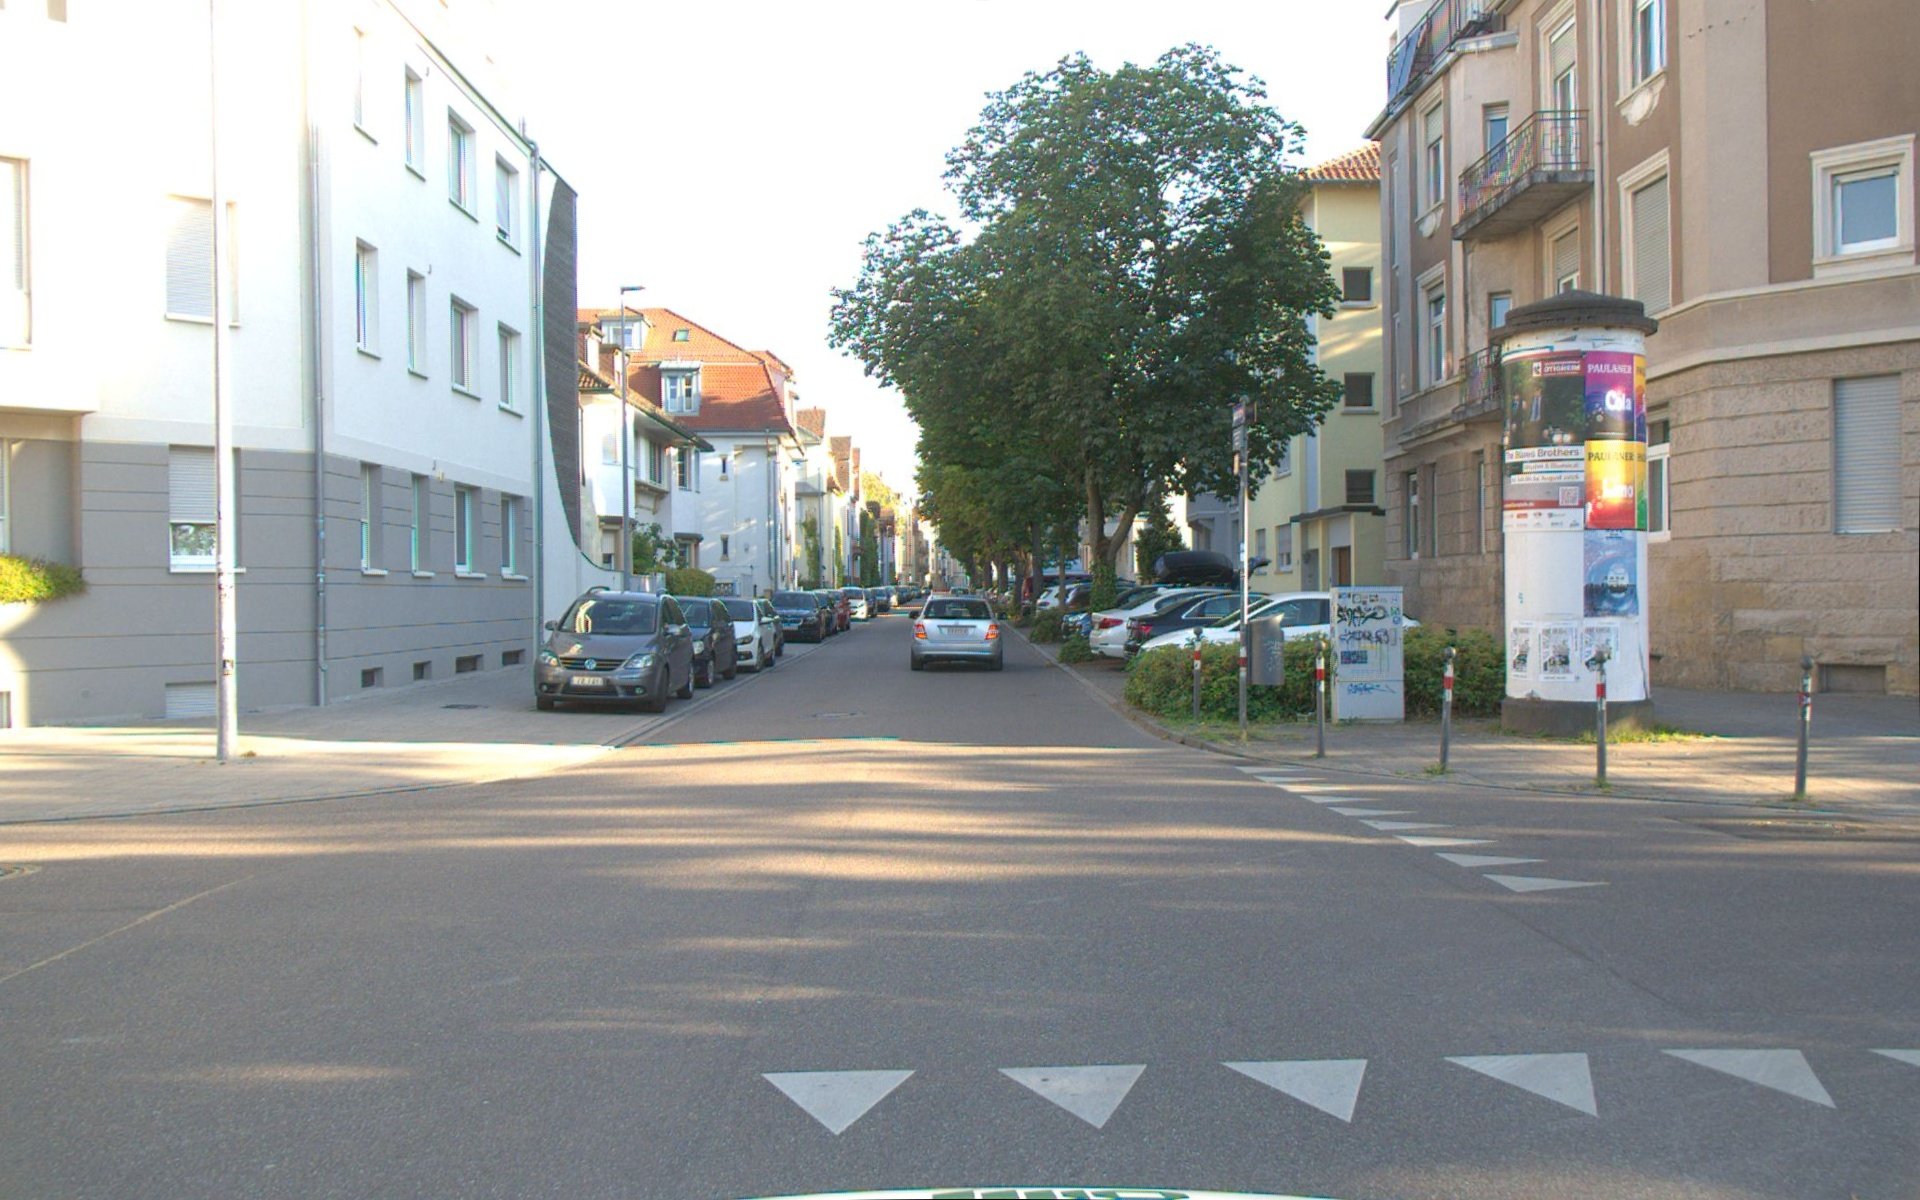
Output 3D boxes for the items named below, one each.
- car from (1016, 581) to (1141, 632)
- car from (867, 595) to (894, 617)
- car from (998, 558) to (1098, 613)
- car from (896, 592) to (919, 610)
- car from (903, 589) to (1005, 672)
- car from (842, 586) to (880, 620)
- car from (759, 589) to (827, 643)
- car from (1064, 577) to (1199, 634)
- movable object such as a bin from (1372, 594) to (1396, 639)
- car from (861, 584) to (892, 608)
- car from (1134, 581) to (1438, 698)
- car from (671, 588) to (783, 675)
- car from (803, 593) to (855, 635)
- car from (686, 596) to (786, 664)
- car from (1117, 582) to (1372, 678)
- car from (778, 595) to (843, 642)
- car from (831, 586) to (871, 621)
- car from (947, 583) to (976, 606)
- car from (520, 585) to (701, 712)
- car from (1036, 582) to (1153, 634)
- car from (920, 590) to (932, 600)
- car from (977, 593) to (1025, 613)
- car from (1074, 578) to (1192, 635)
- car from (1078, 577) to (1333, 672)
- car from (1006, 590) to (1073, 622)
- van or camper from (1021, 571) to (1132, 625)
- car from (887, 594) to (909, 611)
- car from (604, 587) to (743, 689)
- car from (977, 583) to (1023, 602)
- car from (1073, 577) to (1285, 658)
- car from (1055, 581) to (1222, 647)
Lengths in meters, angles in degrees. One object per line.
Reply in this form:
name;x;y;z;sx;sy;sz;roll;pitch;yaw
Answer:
car;4.408;0.221;61.823;4.531;1.869;1.954;0;0;-1
car;-5.754;0.403;119.959;1.762;1.508;3.857;0;1;0
car;4.979;-0.816;94.050;5.431;3.020;2.471;-1;0;-3
car;-4.228;0.038;134.180;1.762;1.411;3.606;0;1;0
car;-0.054;0.579;32.328;1.779;1.498;4.217;-1;-1;2
car;-5.116;0.145;85.765;1.762;1.673;3.857;0;1;0
car;-5.003;0.469;49.927;1.817;1.524;4.652;0;0;-3
car;5.059;0.155;49.120;3.844;1.585;1.726;-1;1;1
movable object such as a bin;10.437;0.403;40.684;0.446;1.105;0.532;0;-1;0
car;-5.255;-0.261;104.054;1.762;1.508;3.857;0;1;0
car;4.614;0.541;23.811;3.966;1.532;1.861;-1;0;-2
car;-4.614;0.588;33.265;1.846;1.619;4.088;-1;0;-3
car;-4.876;0.517;61.859;1.625;1.514;3.753;0;0;0
car;-5.088;0.659;38.024;1.722;1.473;4.142;0;0;0
car;4.850;0.502;28.576;4.059;1.473;1.673;-2;0;-2
car;-5.033;0.601;56.079;1.747;1.524;4.699;0;0;0
car;-5.008;0.161;76.339;1.625;1.526;3.753;0;0;0
car;0.111;-0.340;113.019;1.779;1.498;4.217;-1;-1;2
car;-4.816;0.620;23.338;1.846;1.619;4.088;-1;0;-3
car;4.398;0.252;54.510;3.655;1.585;1.725;-1;0;-2
car;-5.256;-0.789;254.624;1.762;1.411;3.606;0;1;0
car;3.238;0.207;130.818;3.765;1.508;1.805;-1;0;0
car;5.395;0.197;51.906;3.476;1.683;1.725;-1;0;-2
car;4.586;0.430;31.233;4.391;1.552;1.952;-2;1;-6
car;4.363;0.323;91.199;3.522;1.688;1.649;-1;0;-3
van or camper;4.519;-0.094;64.411;4.223;2.049;2.001;0;0;2
car;-5.356;0.215;143.858;1.762;1.411;3.606;0;1;0
car;-4.882;0.607;28.674;1.846;1.619;4.088;-1;0;-3
car;3.301;-0.655;137.138;3.765;1.508;1.805;-1;0;0
car;4.838;0.378;36.919;4.435;1.669;1.874;-1;0;-2
car;4.625;0.349;43.172;4.105;1.585;1.874;-1;0;-2
